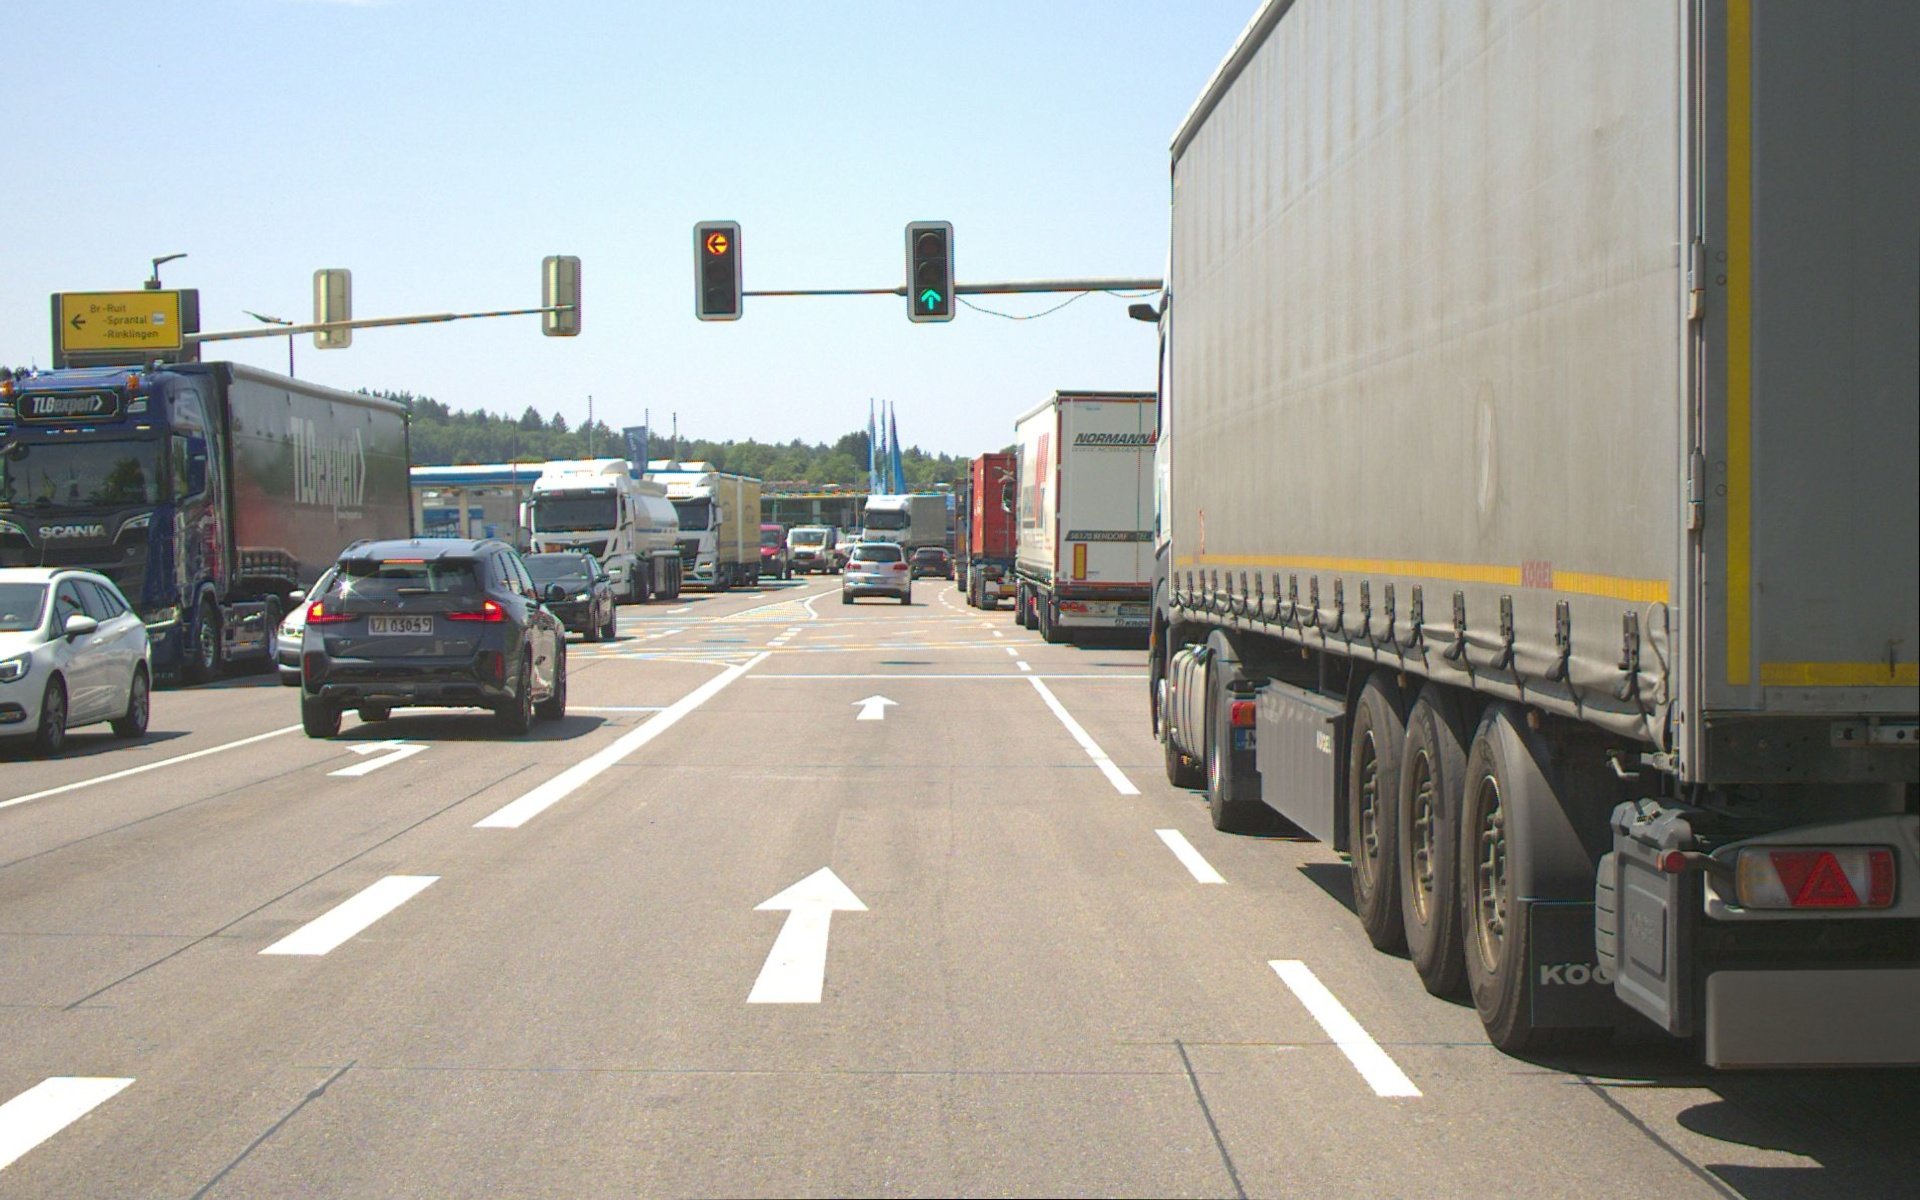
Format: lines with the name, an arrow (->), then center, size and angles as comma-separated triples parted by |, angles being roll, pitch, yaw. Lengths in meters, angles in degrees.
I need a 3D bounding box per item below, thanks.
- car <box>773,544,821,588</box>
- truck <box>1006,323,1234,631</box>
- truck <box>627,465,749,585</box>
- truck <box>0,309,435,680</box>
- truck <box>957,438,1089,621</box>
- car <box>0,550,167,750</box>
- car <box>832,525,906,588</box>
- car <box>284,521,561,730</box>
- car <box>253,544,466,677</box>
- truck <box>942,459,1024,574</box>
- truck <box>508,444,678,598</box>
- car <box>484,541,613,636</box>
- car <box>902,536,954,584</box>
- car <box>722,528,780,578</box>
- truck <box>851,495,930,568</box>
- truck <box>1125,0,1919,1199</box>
car -> -7.639, -1.567, 161.607 | 1.905, 2.007, 4.000 | 0, 0, 2
truck -> 2.521, -1.824, 60.094 | 2.875, 4.623, 16.655 | 0, 0, -1
truck -> -9.458, -2.598, 121.054 | 2.934, 3.936, 13.865 | -1, 1, 1
truck -> -10.651, -1.402, 49.476 | 3.146, 4.334, 17.543 | -2, 1, 1
truck -> 1.537, -1.701, 92.402 | 2.875, 4.463, 16.655 | 0, 0, -1
car -> -7.874, 0.414, 28.003 | 1.740, 1.498, 4.406 | -2, 0, 0
car -> -2.439, -1.189, 93.275 | 1.804, 1.664, 4.291 | 0, 1, 1
car -> -4.523, 0.177, 29.495 | 1.793, 1.621, 4.370 | -1, 1, -2
car -> -7.271, 0.084, 42.082 | 1.810, 1.503, 4.947 | -1, 1, -1
truck -> 0.745, -2.801, 119.061 | 2.608, 3.704, 9.449 | 0, 0, -1
truck -> -10.087, -2.147, 96.189 | 2.934, 3.936, 14.237 | -1, 1, 1
car -> -6.951, -0.227, 58.410 | 1.664, 1.503, 3.905 | -2, 1, 0
car -> -1.357, -1.722, 147.879 | 1.994, 2.007, 4.000 | -1, 1, 3
car -> -8.689, -1.937, 143.093 | 1.994, 2.007, 4.000 | 0, 0, 3
truck -> -4.004, -3.932, 201.607 | 3.271, 3.937, 13.862 | 0, 0, 5
truck -> 2.694, -0.553, 15.518 | 2.755, 4.623, 16.655 | 0, 0, -1
